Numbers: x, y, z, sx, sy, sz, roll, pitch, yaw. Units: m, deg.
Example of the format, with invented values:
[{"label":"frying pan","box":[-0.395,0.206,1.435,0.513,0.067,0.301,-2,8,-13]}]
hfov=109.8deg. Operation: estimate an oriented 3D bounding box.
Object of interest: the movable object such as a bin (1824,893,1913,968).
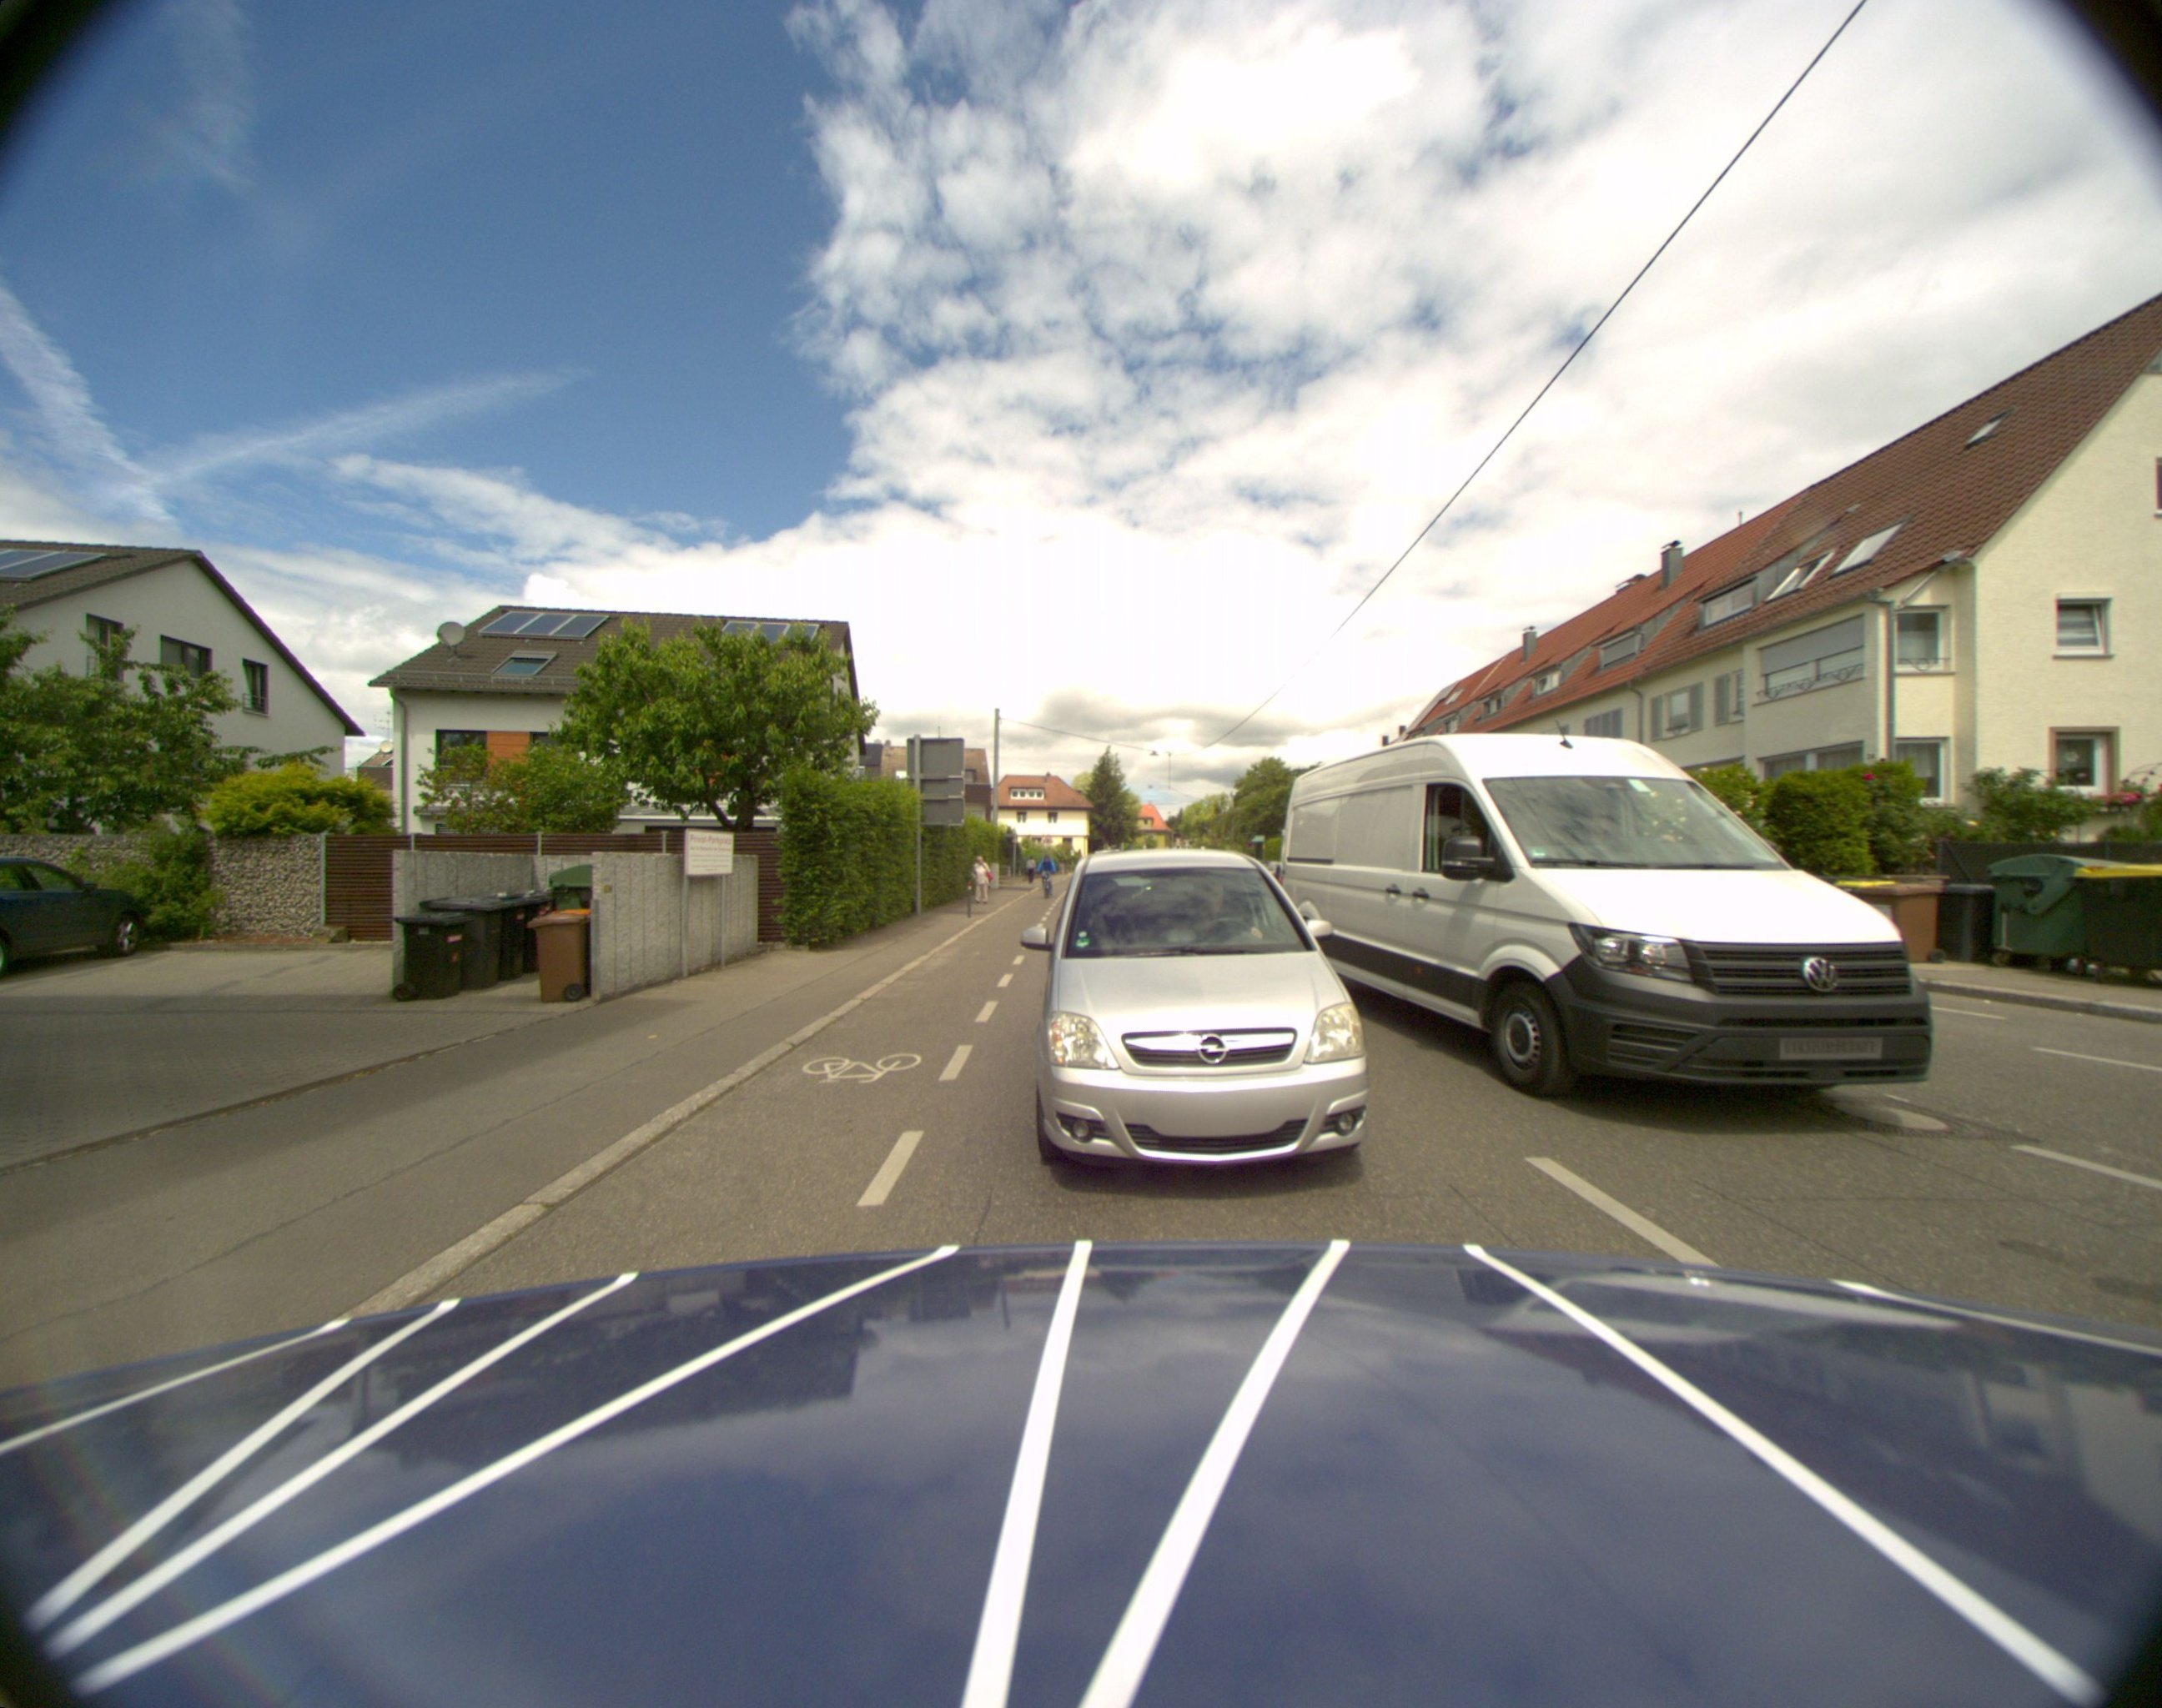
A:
[{"label":"movable object such as a bin","box":[11.369,1.090,10.988,0.597,1.018,0.658,0,0,1]}]

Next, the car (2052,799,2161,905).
[{"label":"car","box":[19.399,-0.077,12.704,3.997,1.696,1.803,-1,0,0]}]

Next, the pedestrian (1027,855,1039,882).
[{"label":"pedestrian","box":[-2.893,0.888,46.134,0.604,1.596,0.836,2,1,2]}]

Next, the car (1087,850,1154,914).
[{"label":"car","box":[1.126,0.785,23.206,1.780,1.760,4.189,0,0,0]}]

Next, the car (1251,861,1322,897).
[{"label":"car","box":[8.791,1.019,32.927,1.998,1.400,4.690,0,0,3]}]

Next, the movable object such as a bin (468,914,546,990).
[{"label":"movable object such as a bin","box":[-7.419,1.254,9.843,0.635,0.887,0.539,-1,1,-16]}]

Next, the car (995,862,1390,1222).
[{"label":"car","box":[0.650,0.873,5.551,1.707,1.531,4.332,-2,0,4]}]

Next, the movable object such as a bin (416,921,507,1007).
[{"label":"movable object such as a bin","box":[-7.132,1.252,8.776,0.635,0.887,0.539,-1,1,-16]}]

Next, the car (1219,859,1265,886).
[{"label":"car","box":[9.158,1.031,43.551,1.782,1.409,4.440,0,0,2]}]

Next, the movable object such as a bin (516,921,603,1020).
[{"label":"movable object such as a bin","box":[-5.608,1.230,8.202,0.534,0.945,0.686,-1,0,-13]}]

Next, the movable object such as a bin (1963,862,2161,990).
[{"label":"movable object such as a bin","box":[12.198,0.846,9.442,1.068,1.473,1.214,0,0,-1]}]

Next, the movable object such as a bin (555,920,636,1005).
[{"label":"movable object such as a bin","box":[-5.712,1.259,8.962,0.533,0.887,0.679,-1,0,-5]}]

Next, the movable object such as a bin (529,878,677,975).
[{"label":"movable object such as a bin","box":[-6.922,1.011,11.131,1.192,1.255,1.535,-1,0,-2]}]

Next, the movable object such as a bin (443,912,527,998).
[{"label":"movable object such as a bin","box":[-7.283,1.217,9.309,0.629,0.962,0.539,-1,1,-16]}]

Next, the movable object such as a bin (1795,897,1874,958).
[{"label":"movable object such as a bin","box":[11.529,1.113,11.641,0.597,0.874,0.614,0,0,1]}]

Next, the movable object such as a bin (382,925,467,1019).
[{"label":"movable object such as a bin","box":[-7.076,1.253,8.211,0.494,0.907,0.539,-1,1,-16]}]

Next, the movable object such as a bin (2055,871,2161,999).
[{"label":"movable object such as a bin","box":[11.827,0.854,8.200,1.067,1.305,1.214,0,0,2]}]

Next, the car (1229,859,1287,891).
[{"label":"car","box":[8.874,1.003,38.466,1.782,1.483,4.565,0,0,-1]}]

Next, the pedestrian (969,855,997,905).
[{"label":"pedestrian","box":[-3.276,0.858,25.393,0.800,1.608,0.653,1,1,2]}]

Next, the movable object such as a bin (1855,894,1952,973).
[{"label":"movable object such as a bin","box":[11.146,1.067,10.321,0.597,1.001,0.658,0,0,1]}]

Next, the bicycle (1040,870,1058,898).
[{"label":"bicycle","box":[-1.266,1.189,30.464,0.536,1.039,2.409,-1,0,2]}]

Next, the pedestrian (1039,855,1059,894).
[{"label":"pedestrian","box":[-1.289,0.807,30.455,0.736,1.508,0.872,-1,1,1]}]

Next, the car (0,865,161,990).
[{"label":"car","box":[-14.684,0.936,10.007,1.790,1.527,3.789,0,0,-25]}]

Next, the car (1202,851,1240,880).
[{"label":"car","box":[9.906,0.748,54.148,1.998,1.884,5.405,2,0,4]}]

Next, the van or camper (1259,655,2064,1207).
[{"label":"van or camper","box":[3.502,0.397,6.577,2.031,2.564,5.921,-2,-1,-5]}]

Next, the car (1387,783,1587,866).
[{"label":"car","box":[8.682,-0.567,16.805,1.999,1.578,4.488,0,0,-1]}]
